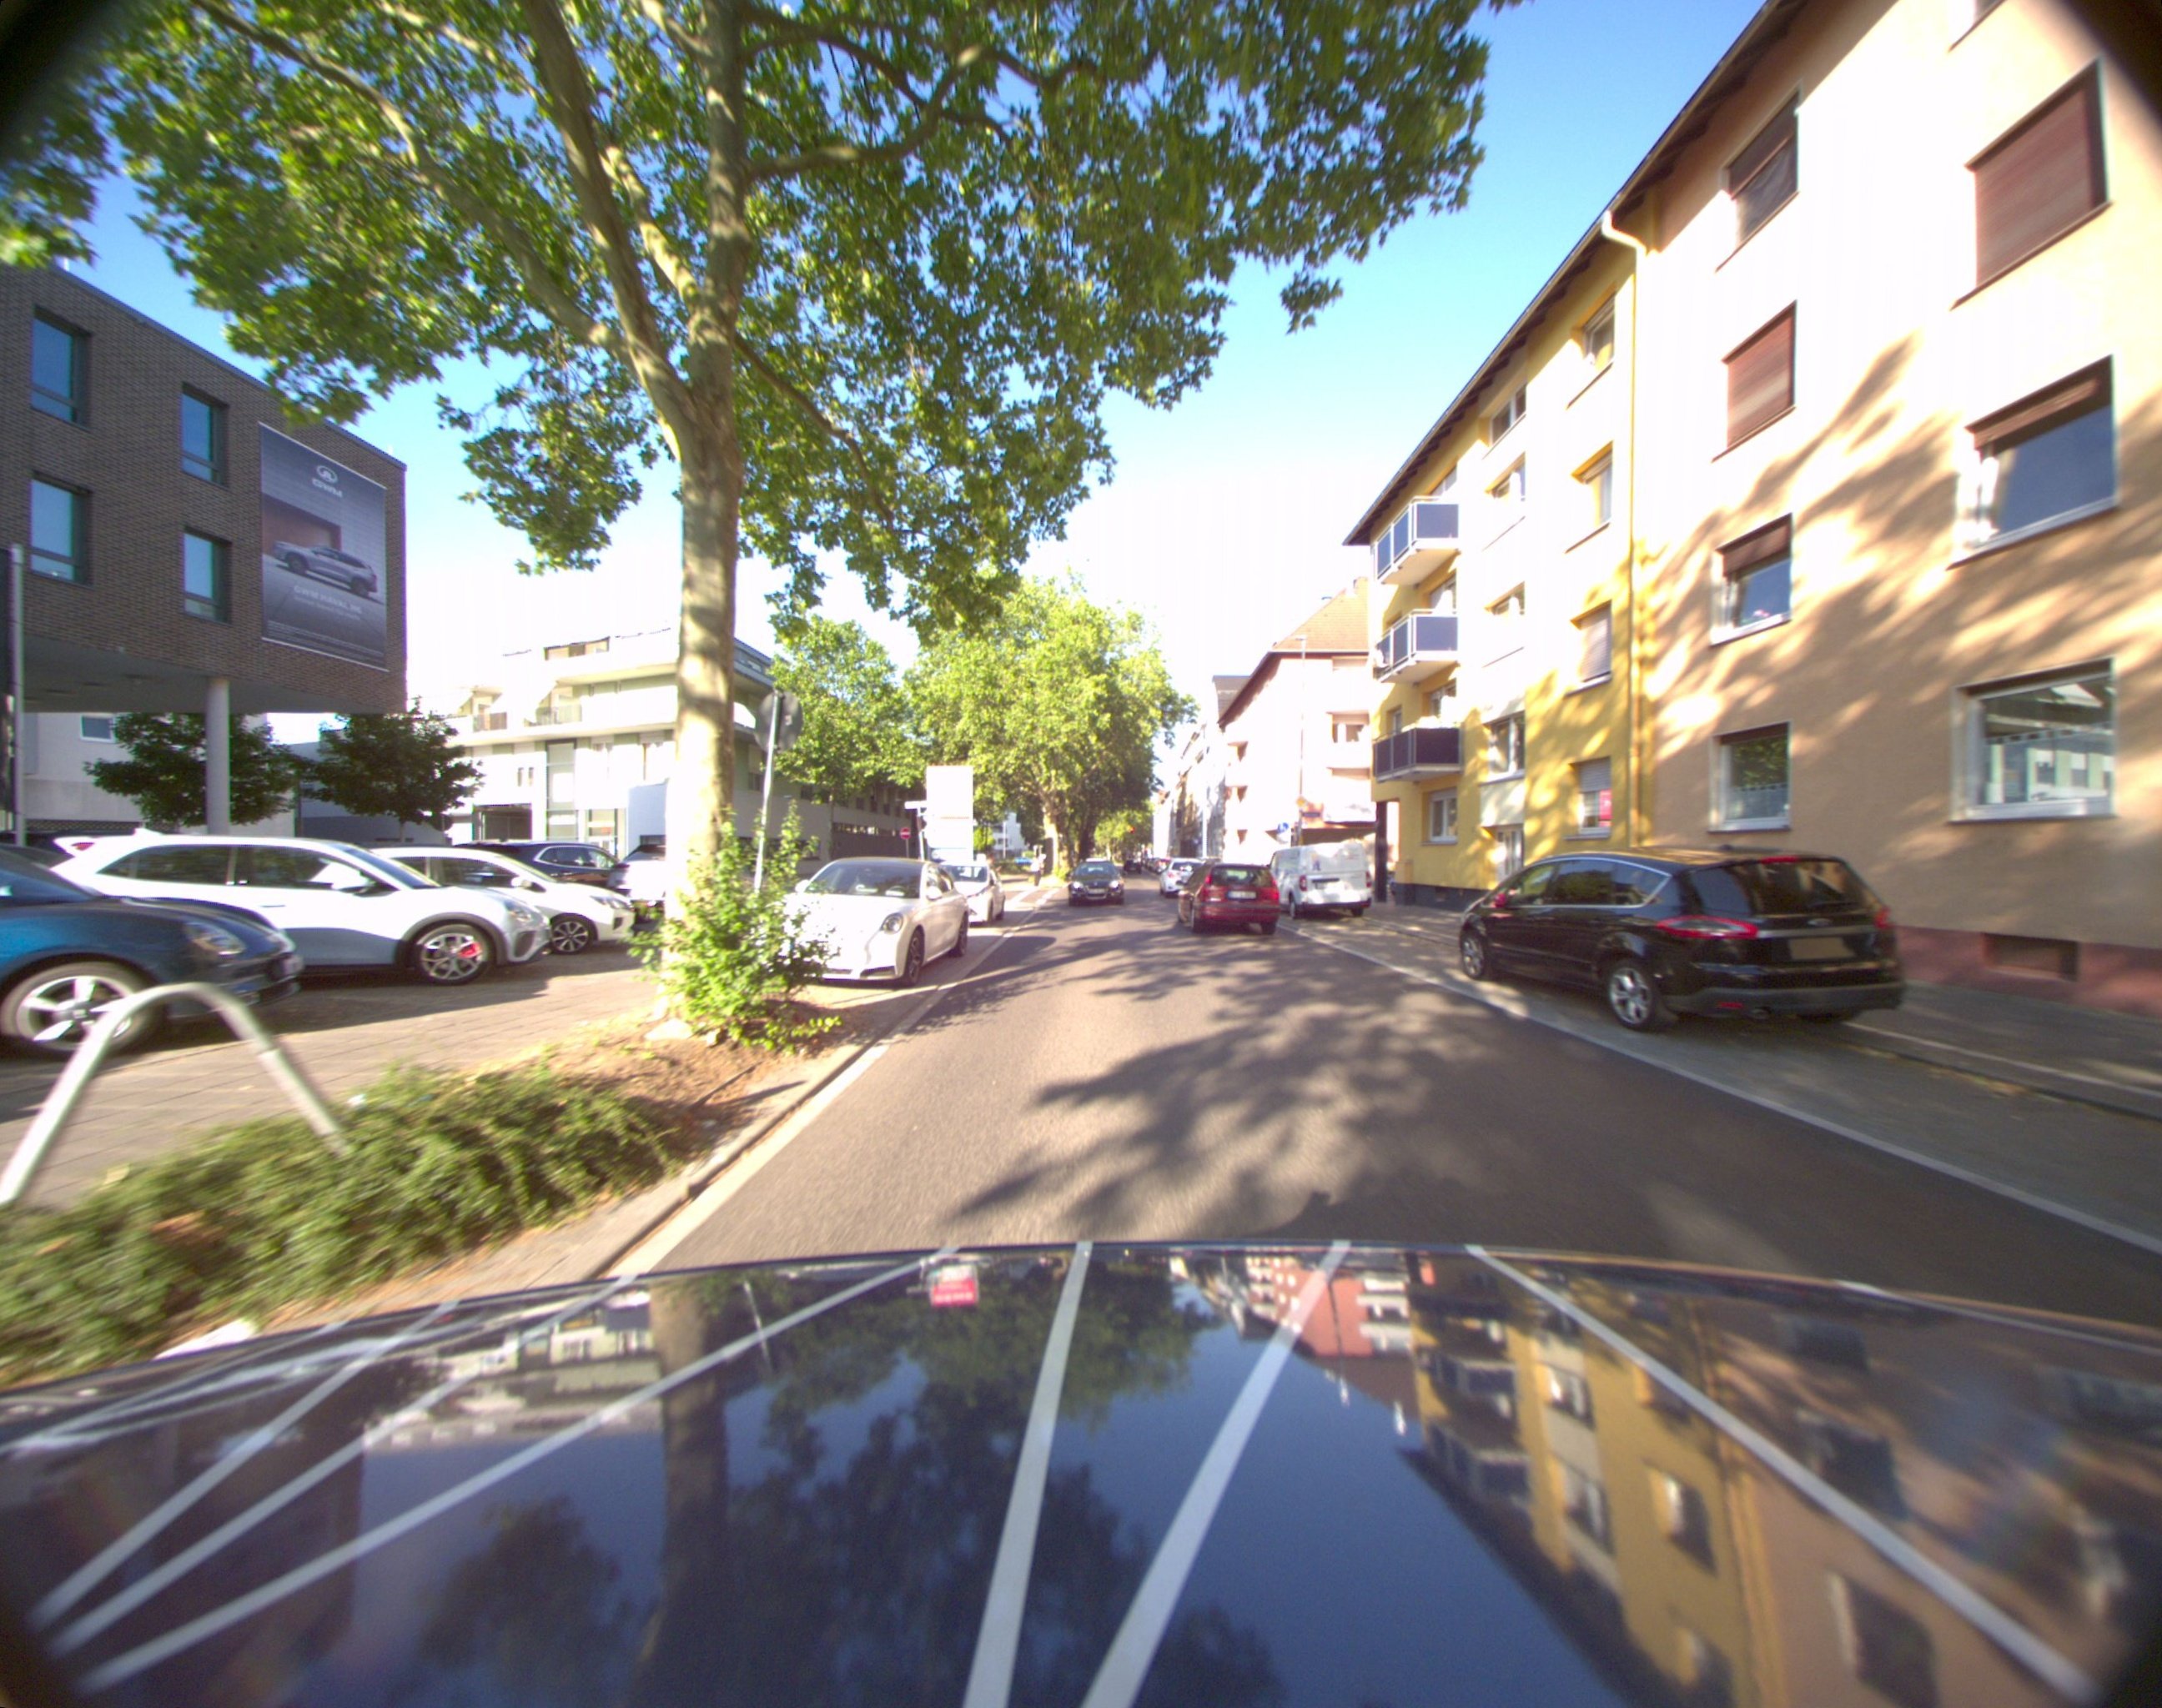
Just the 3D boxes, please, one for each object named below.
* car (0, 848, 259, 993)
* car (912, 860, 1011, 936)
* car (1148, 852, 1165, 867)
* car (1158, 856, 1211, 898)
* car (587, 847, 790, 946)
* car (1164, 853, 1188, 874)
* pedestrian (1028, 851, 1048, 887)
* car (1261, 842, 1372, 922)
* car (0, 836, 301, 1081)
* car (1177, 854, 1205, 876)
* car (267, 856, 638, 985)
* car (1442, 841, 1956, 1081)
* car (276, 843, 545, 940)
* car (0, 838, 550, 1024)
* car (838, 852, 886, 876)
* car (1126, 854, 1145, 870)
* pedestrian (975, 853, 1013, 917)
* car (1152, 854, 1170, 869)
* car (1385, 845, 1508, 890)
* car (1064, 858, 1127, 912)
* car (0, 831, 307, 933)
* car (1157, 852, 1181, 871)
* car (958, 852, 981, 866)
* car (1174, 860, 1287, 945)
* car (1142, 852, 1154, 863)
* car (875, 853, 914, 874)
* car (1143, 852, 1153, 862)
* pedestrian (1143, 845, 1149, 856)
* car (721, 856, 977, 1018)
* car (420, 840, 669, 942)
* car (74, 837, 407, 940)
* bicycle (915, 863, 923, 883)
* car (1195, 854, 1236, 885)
[{"bbox_3d":[-12.069,0.689,8.352,3.827,1.502,1.639,1,0,-34],"label":"car"},{"bbox_3d":[-2.706,0.952,18.038,1.639,1.459,4.020,2,1,0],"label":"car"},{"bbox_3d":[8.668,0.639,87.468,1.681,1.575,4.201,-2,0,4],"label":"car"},{"bbox_3d":[4.005,0.837,29.883,1.643,1.515,3.934,0,0,2],"label":"car"},{"bbox_3d":[-7.452,0.718,14.954,1.756,1.660,4.158,0,0,2],"label":"car"},{"bbox_3d":[8.075,0.775,64.687,1.681,1.632,3.985,-2,0,3],"label":"car"},{"bbox_3d":[-2.134,0.748,37.859,0.771,1.751,0.662,2,1,-18],"label":"pedestrian"},{"bbox_3d":[6.321,0.674,21.001,1.738,1.896,5.210,-1,0,4],"label":"car"},{"bbox_3d":[-8.124,0.651,5.056,3.827,1.569,1.736,1,0,-36],"label":"car"},{"bbox_3d":[7.887,0.788,54.563,1.681,1.477,3.602,-2,0,3],"label":"car"},{"bbox_3d":[-8.527,0.806,10.791,3.826,1.536,1.658,0,0,-32],"label":"car"},{"bbox_3d":[5.777,0.811,8.046,1.749,1.777,4.549,-2,0,1],"label":"car"},{"bbox_3d":[-13.135,0.646,15.307,1.731,1.674,4.180,0,0,0],"label":"car"},{"bbox_3d":[-8.150,0.693,8.189,3.826,1.600,1.737,1,0,-31],"label":"car"},{"bbox_3d":[-14.052,0.593,48.959,1.863,1.460,4.123,0,0,1],"label":"car"},{"bbox_3d":[5.357,0.781,75.237,1.775,1.470,4.322,-2,0,3],"label":"car"},{"bbox_3d":[-2.377,0.826,20.736,0.692,1.713,0.723,1,1,41],"label":"pedestrian"},{"bbox_3d":[8.507,0.747,80.652,1.681,1.487,3.872,-2,0,4],"label":"car"},{"bbox_3d":[16.842,0.615,35.226,4.757,2.002,1.920,0,1,4],"label":"car"},{"bbox_3d":[0.559,0.932,24.913,1.844,1.536,4.525,-2,0,3],"label":"car"},{"bbox_3d":[-18.456,0.462,14.990,1.990,1.723,4.181,0,0,3],"label":"car"},{"bbox_3d":[8.148,0.663,70.366,1.912,1.632,4.578,-2,0,4],"label":"car"},{"bbox_3d":[-12.507,0.500,85.466,1.863,1.534,4.320,0,0,3],"label":"car"},{"bbox_3d":[3.093,0.933,16.557,1.667,1.515,4.412,1,0,2],"label":"car"},{"bbox_3d":[11.132,0.528,126.143,1.910,1.663,4.495,-2,0,7],"label":"car"},{"bbox_3d":[-13.754,0.669,56.197,1.863,1.543,3.760,0,0,3],"label":"car"},{"bbox_3d":[11.661,0.519,131.758,1.668,1.808,4.006,-2,0,5],"label":"car"},{"bbox_3d":[9.697,-0.490,112.691,0.865,1.561,0.706,0,1,7],"label":"pedestrian"},{"bbox_3d":[-2.746,0.878,10.232,1.814,1.530,4.583,3,1,2],"label":"car"},{"bbox_3d":[-10.206,0.618,14.957,1.830,1.721,4.367,0,0,0],"label":"car"},{"bbox_3d":[-15.953,0.581,14.840,1.880,1.723,4.180,0,0,0],"label":"car"},{"bbox_3d":[-8.418,0.964,39.471,0.384,0.998,1.484,0,0,-14],"label":"bicycle"},{"bbox_3d":[7.196,0.791,40.885,1.681,1.515,4.022,-2,0,4],"label":"car"}]
